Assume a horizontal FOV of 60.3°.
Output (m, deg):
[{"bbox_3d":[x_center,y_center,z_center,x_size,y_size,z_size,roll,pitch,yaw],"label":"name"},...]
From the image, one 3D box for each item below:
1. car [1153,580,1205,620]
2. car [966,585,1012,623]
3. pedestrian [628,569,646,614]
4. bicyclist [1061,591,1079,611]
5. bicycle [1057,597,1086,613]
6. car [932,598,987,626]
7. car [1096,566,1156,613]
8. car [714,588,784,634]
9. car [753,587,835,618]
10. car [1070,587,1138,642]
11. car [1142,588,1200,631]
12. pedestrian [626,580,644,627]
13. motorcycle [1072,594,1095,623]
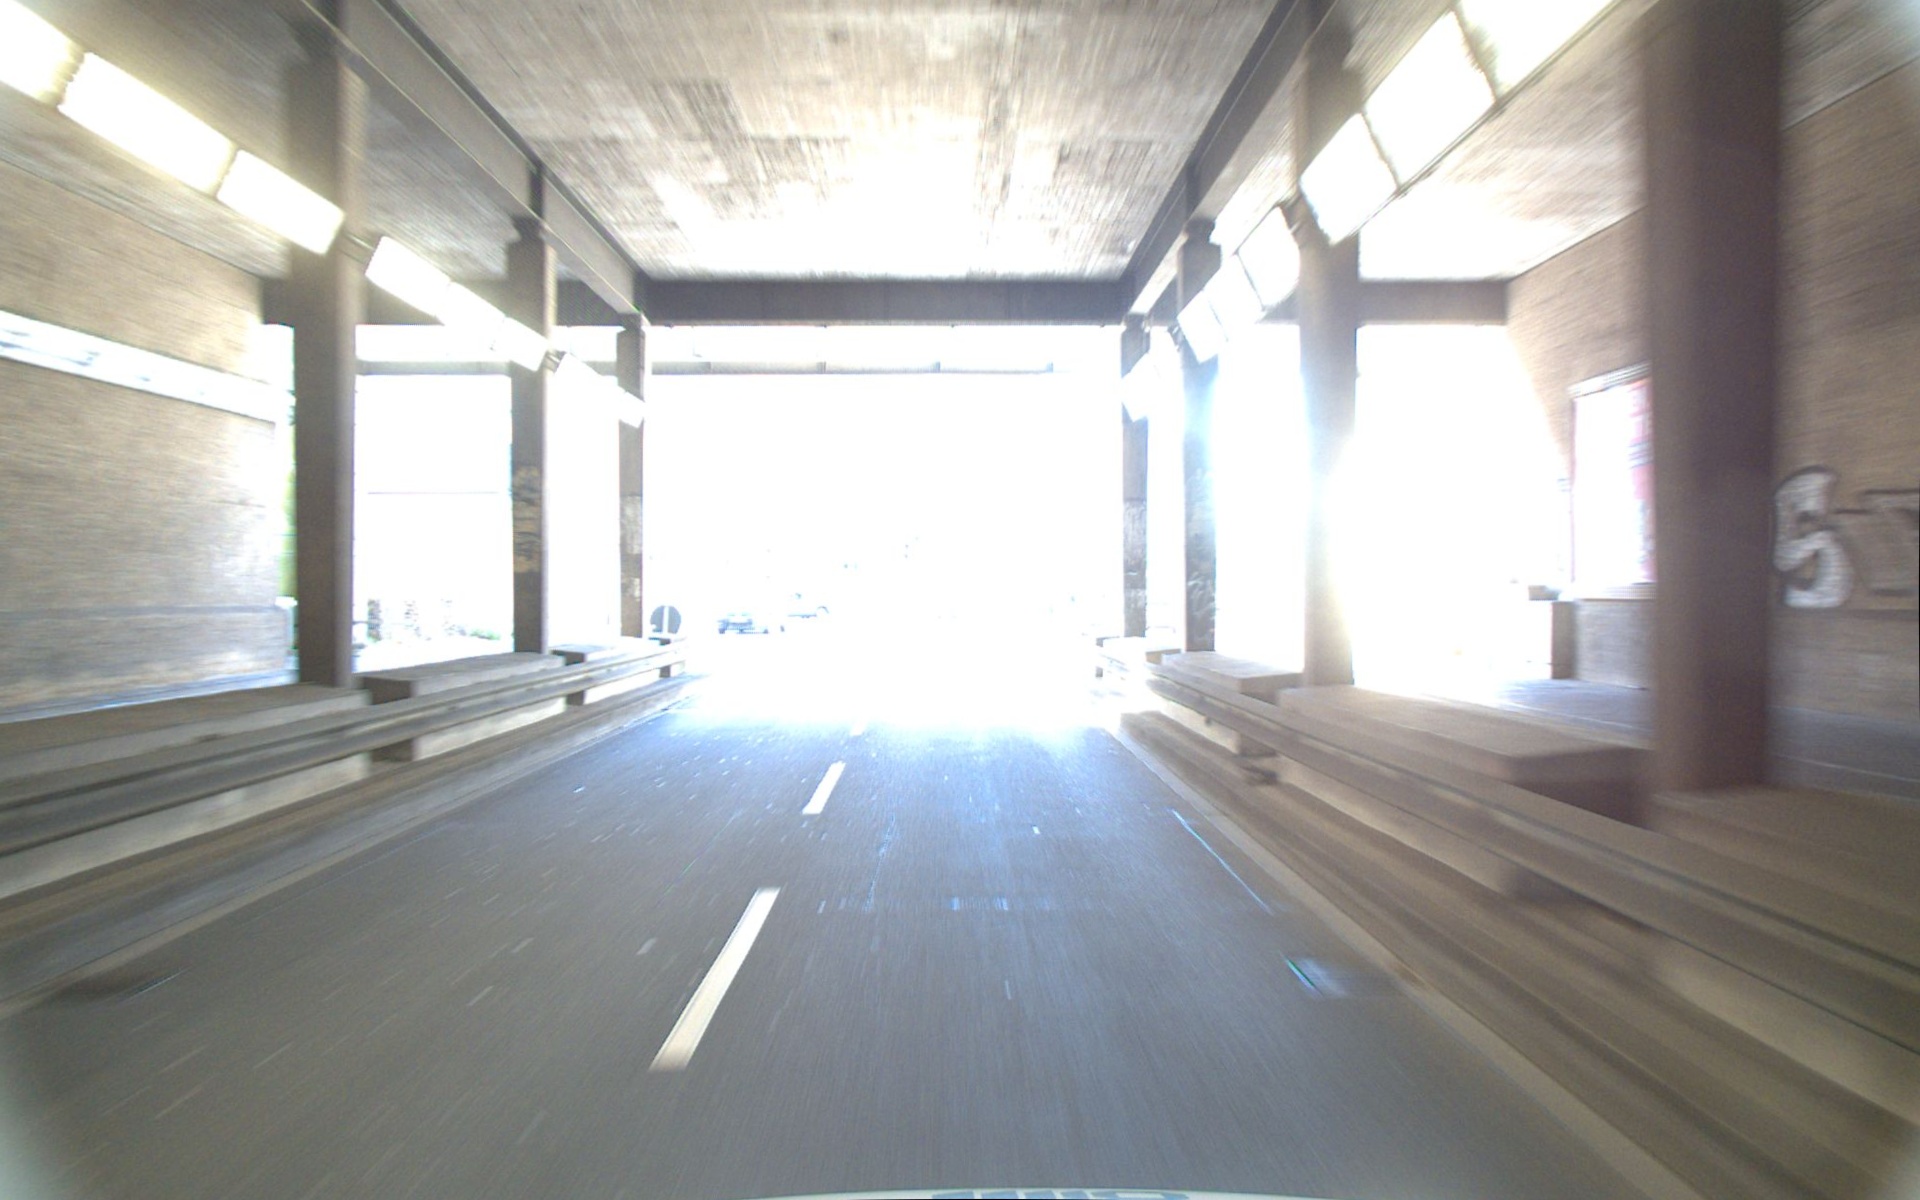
[{"bbox_3d":[9.174,-0.008,69.013,1.775,1.610,4.003,0,0,13],"label":"car"},{"bbox_3d":[1.127,0.146,64.929,1.750,1.418,4.106,0,0,1],"label":"car"},{"bbox_3d":[-11.935,-0.305,61.142,0.482,1.668,0.620,0,0,-27],"label":"pedestrian"},{"bbox_3d":[7.711,0.059,115.877,0.915,1.406,1.147,0,0,25],"label":"bicyclist"},{"bbox_3d":[7.865,0.377,116.177,0.915,1.074,3.352,0,1,25],"label":"bicycle"},{"bbox_3d":[-0.004,0.609,87.660,1.772,1.415,4.250,0,1,17],"label":"car"},{"bbox_3d":[7.699,-0.483,76.221,2.125,2.044,4.812,-1,0,13],"label":"car"},{"bbox_3d":[-6.977,0.333,55.073,1.716,1.429,4.416,0,1,1],"label":"car"},{"bbox_3d":[-8.605,0.105,85.808,3.834,1.601,1.908,0,1,-34],"label":"car"},{"bbox_3d":[4.350,0.402,49.368,1.906,1.555,4.093,0,1,6],"label":"car"},{"bbox_3d":[7.805,0.328,61.002,1.694,1.527,4.003,0,1,13],"label":"car"},{"bbox_3d":[-11.653,0.116,59.286,0.507,1.668,0.620,0,0,-27],"label":"pedestrian"},{"bbox_3d":[4.938,0.323,66.004,0.760,1.101,2.283,0,1,9],"label":"motorcycle"}]
